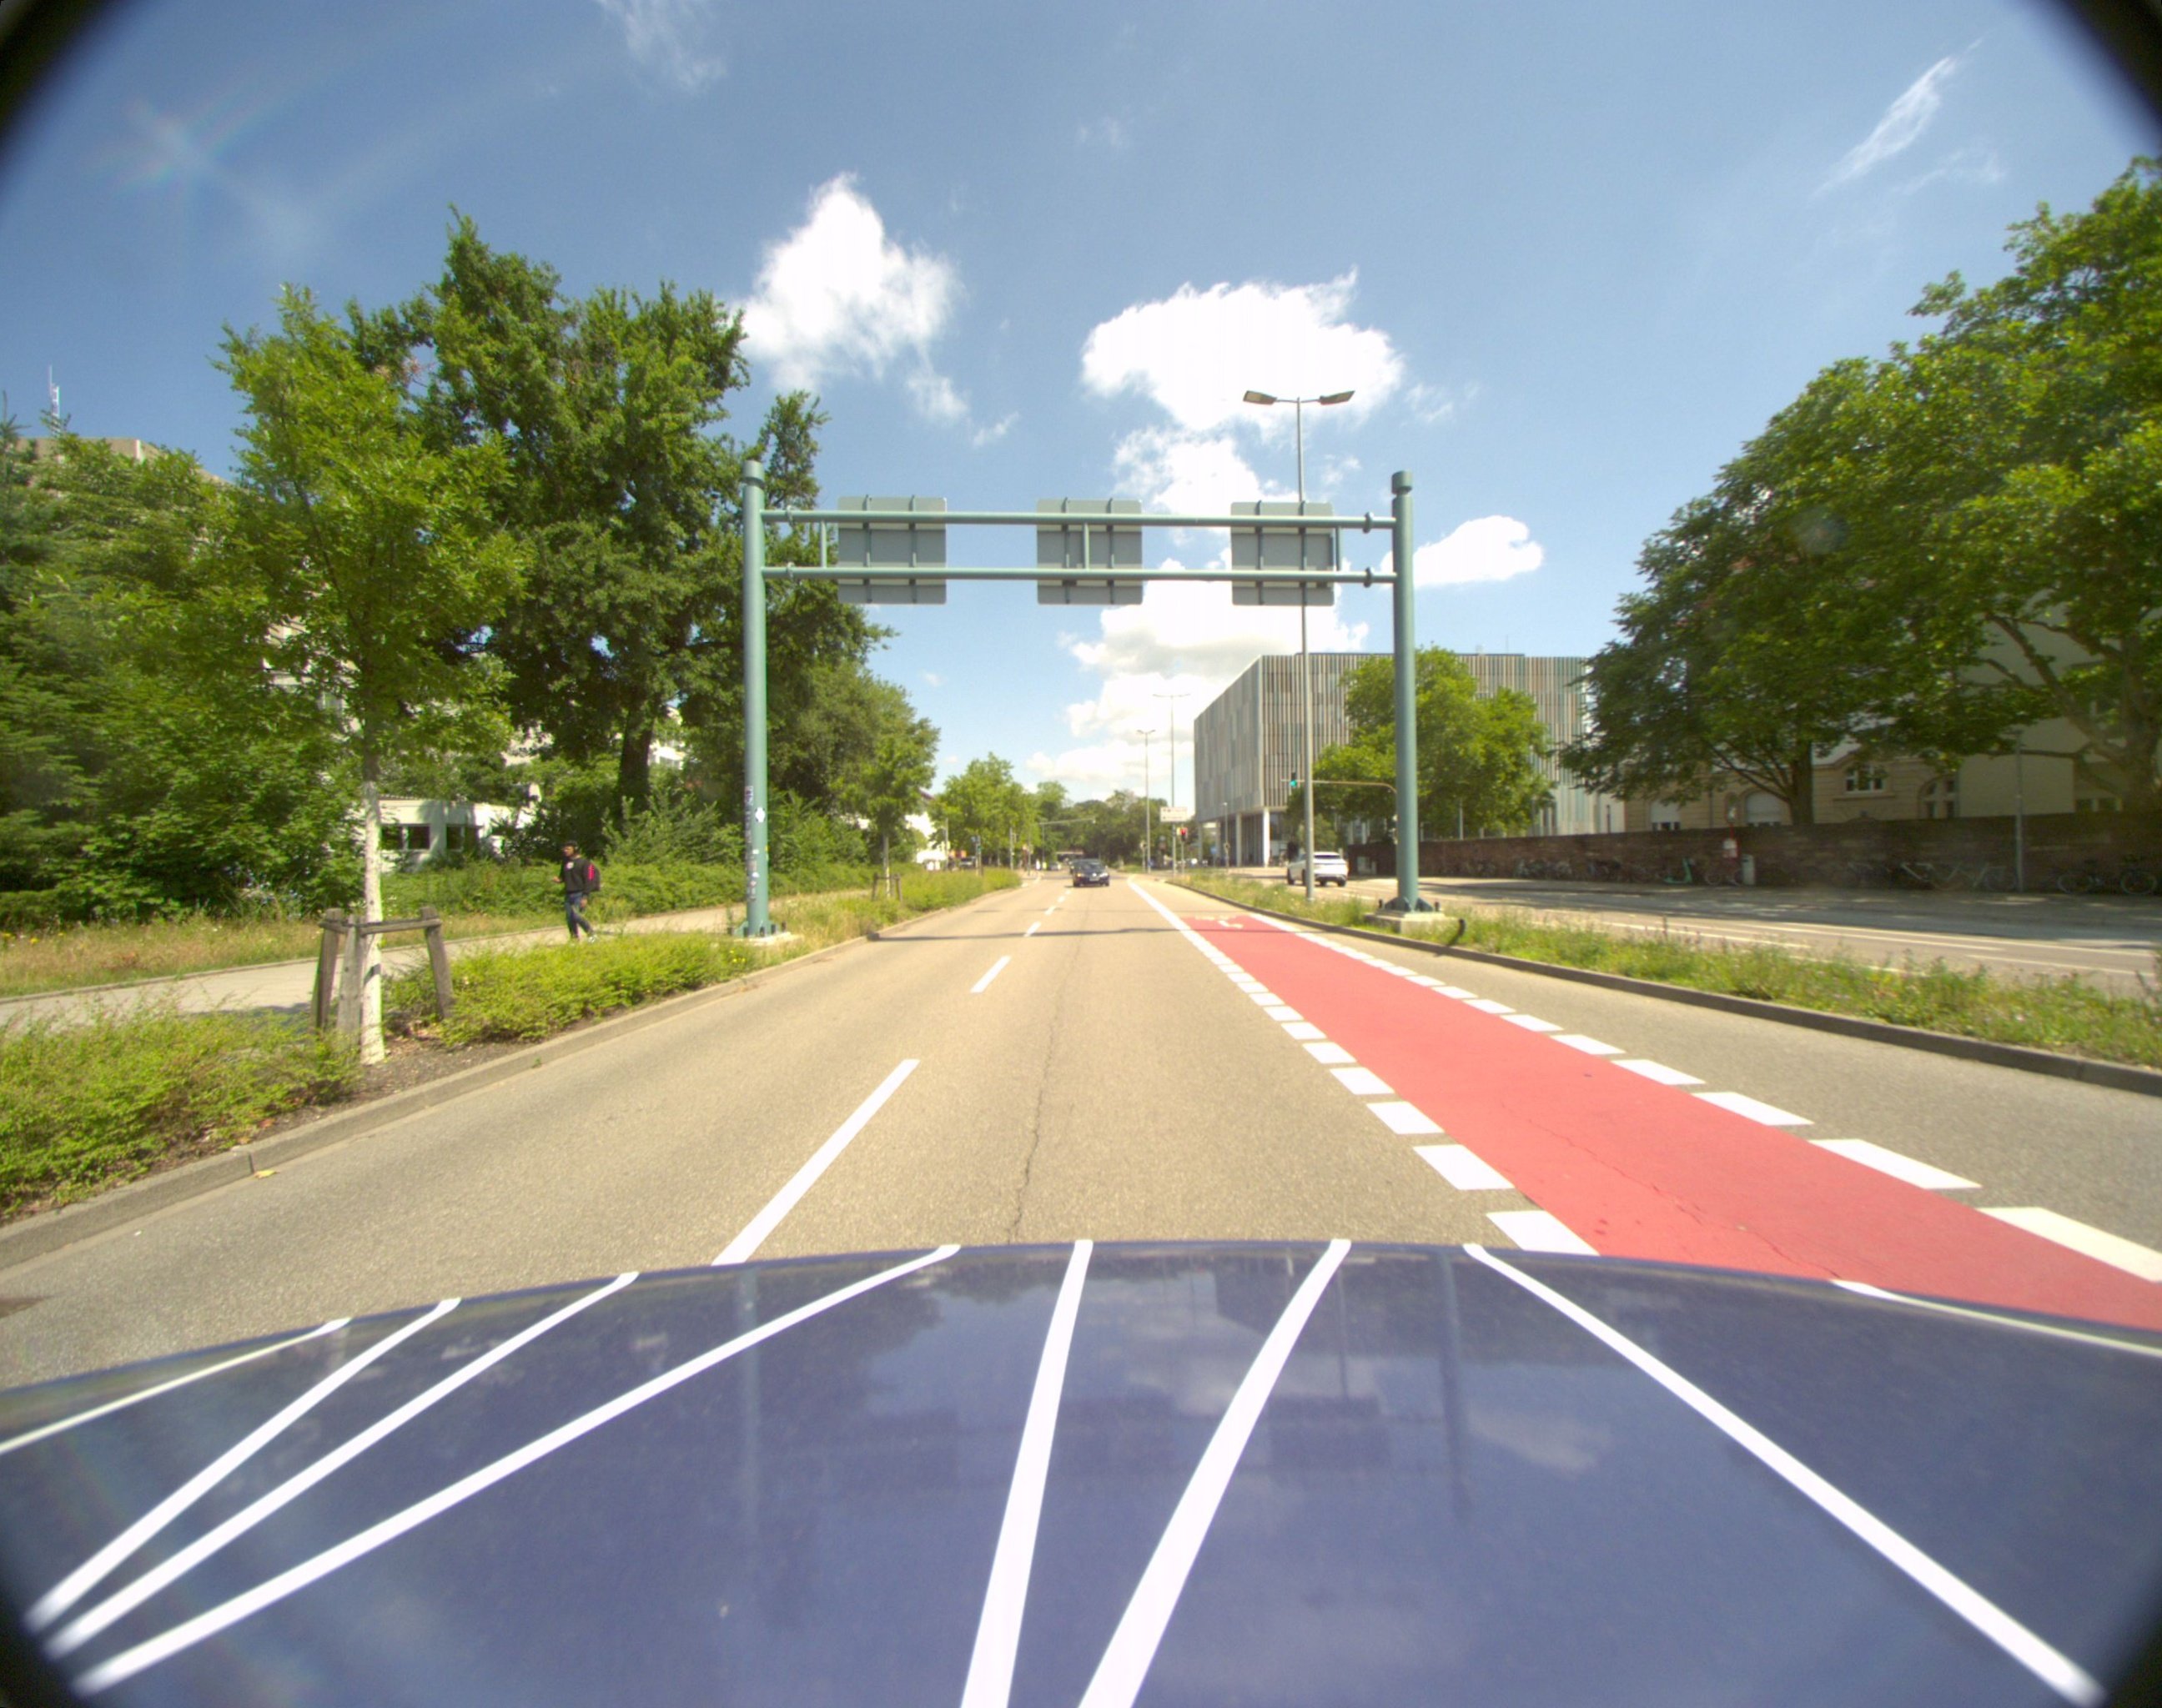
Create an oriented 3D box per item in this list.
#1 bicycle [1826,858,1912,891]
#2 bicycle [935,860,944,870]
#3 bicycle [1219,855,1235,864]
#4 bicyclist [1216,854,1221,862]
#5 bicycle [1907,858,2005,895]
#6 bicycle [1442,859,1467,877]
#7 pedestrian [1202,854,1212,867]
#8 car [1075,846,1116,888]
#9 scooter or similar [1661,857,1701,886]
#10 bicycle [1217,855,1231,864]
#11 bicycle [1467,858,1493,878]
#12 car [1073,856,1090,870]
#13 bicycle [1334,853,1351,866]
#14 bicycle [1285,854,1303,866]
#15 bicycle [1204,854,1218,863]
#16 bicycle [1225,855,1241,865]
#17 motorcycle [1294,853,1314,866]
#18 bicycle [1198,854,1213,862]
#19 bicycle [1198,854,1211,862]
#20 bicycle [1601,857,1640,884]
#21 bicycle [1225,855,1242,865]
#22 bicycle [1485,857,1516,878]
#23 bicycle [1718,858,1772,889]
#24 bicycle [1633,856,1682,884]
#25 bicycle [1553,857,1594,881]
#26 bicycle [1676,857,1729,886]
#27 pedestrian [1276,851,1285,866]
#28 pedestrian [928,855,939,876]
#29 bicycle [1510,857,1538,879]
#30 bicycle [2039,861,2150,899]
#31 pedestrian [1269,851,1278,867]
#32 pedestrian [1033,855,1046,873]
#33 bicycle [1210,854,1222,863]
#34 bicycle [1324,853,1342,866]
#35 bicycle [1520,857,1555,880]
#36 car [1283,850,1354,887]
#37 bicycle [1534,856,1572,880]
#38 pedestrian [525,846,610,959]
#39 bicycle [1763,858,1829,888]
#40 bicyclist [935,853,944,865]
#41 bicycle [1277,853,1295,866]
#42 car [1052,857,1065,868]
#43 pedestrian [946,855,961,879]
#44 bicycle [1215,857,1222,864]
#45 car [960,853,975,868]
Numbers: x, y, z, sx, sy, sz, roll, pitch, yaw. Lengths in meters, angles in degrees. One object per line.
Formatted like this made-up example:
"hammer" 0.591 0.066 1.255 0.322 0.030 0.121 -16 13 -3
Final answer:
"bicycle" 25.615 0.651 24.744 0.545 1.041 1.948 -1 0 -11
"bicycle" -17.158 1.307 92.252 0.885 1.244 2.164 -1 0 -7
"bicycle" 23.705 0.907 123.657 2.511 1.486 0.621 -1 0 1
"bicyclist" 19.670 0.555 108.769 0.618 1.219 0.834 -1 0 1
"bicycle" 25.949 0.643 22.588 0.545 1.041 1.894 -1 0 -11
"bicycle" 22.426 0.837 45.623 0.573 1.092 1.593 -1 0 -8
"pedestrian" 16.251 0.835 97.973 0.972 1.619 0.878 -1 1 -8
"car" 0.744 0.649 39.187 1.998 2.002 4.000 -1 0 1
"scooter or similar" 23.909 0.688 30.292 0.433 1.145 1.191 -1 0 -20
"bicycle" 23.860 0.874 126.753 2.200 1.486 0.621 -1 0 1
"bicycle" 22.788 0.796 43.404 0.500 1.145 1.593 -1 0 -8
"car" -0.011 1.013 88.662 1.846 1.593 3.999 -1 0 -2
"bicycle" 31.959 0.669 92.857 0.997 1.543 3.422 -1 0 37
"bicycle" 27.383 0.820 97.623 2.693 1.485 0.930 -1 0 -44
"bicycle" 23.226 0.796 135.654 2.511 1.486 0.621 -1 0 1
"bicycle" 24.001 0.939 119.969 2.451 1.486 0.621 -1 0 1
"motorcycle" 28.347 0.709 96.670 0.969 1.630 3.305 -1 0 45
"bicycle" 23.012 0.753 140.461 2.511 1.486 0.621 -1 0 1
"bicycle" 23.219 0.745 142.448 2.302 1.486 0.657 -1 0 1
"bicycle" 23.989 0.727 33.816 0.403 1.145 1.593 -1 0 -11
"bicycle" 24.289 0.924 120.975 2.509 1.486 0.730 -1 0 10
"bicycle" 23.028 0.746 41.719 0.623 1.145 1.593 -1 0 -8
"bicycle" 24.954 0.727 28.568 0.433 1.136 1.592 -1 0 -12
"bicycle" 24.181 0.672 31.915 0.534 1.145 1.591 -1 0 -21
"bicycle" 23.418 0.712 36.166 0.403 1.145 1.590 -1 0 -32
"bicycle" 24.658 0.682 30.174 0.534 1.145 1.591 -1 0 -21
"pedestrian" 26.415 0.565 100.381 0.969 1.914 0.880 -1 1 27
"pedestrian" -13.529 1.058 69.699 0.972 1.861 0.878 -1 1 -9
"bicycle" 23.332 0.718 40.020 0.413 1.145 1.593 -1 0 -5
"bicycle" 26.442 0.648 19.857 0.545 0.944 1.664 -1 0 -11
"pedestrian" 24.549 0.638 96.848 0.969 1.914 0.880 -1 1 30
"pedestrian" -4.323 1.034 79.452 1.108 1.914 0.972 -1 1 6
"bicycle" 23.640 0.815 133.089 2.071 1.486 0.621 -1 0 1
"bicycle" 31.136 0.669 93.782 0.997 1.543 3.422 -1 0 37
"bicycle" 23.140 0.734 38.577 0.403 1.145 1.591 -1 0 -22
"car" 11.485 0.663 37.098 2.076 1.657 4.776 -1 0 2
"bicycle" 23.186 0.704 37.349 0.403 1.145 1.590 -1 0 -32
"pedestrian" -8.093 0.746 12.019 0.718 1.711 0.837 -1 1 2
"bicycle" 25.249 0.663 26.864 0.482 1.002 1.800 -1 0 -8
"bicyclist" -17.147 0.597 92.106 0.972 1.436 1.076 -1 0 -7
"bicycle" 26.563 0.742 98.405 0.808 1.634 3.422 -1 0 42
"car" -3.579 1.315 121.027 1.913 1.772 3.999 -1 0 -3
"pedestrian" -8.936 0.903 53.347 0.815 1.711 0.929 -1 1 2
"bicycle" 19.659 0.989 108.749 0.647 0.992 2.164 -1 0 2
"car" -15.804 0.874 106.015 2.000 2.042 4.226 -1 0 -8
